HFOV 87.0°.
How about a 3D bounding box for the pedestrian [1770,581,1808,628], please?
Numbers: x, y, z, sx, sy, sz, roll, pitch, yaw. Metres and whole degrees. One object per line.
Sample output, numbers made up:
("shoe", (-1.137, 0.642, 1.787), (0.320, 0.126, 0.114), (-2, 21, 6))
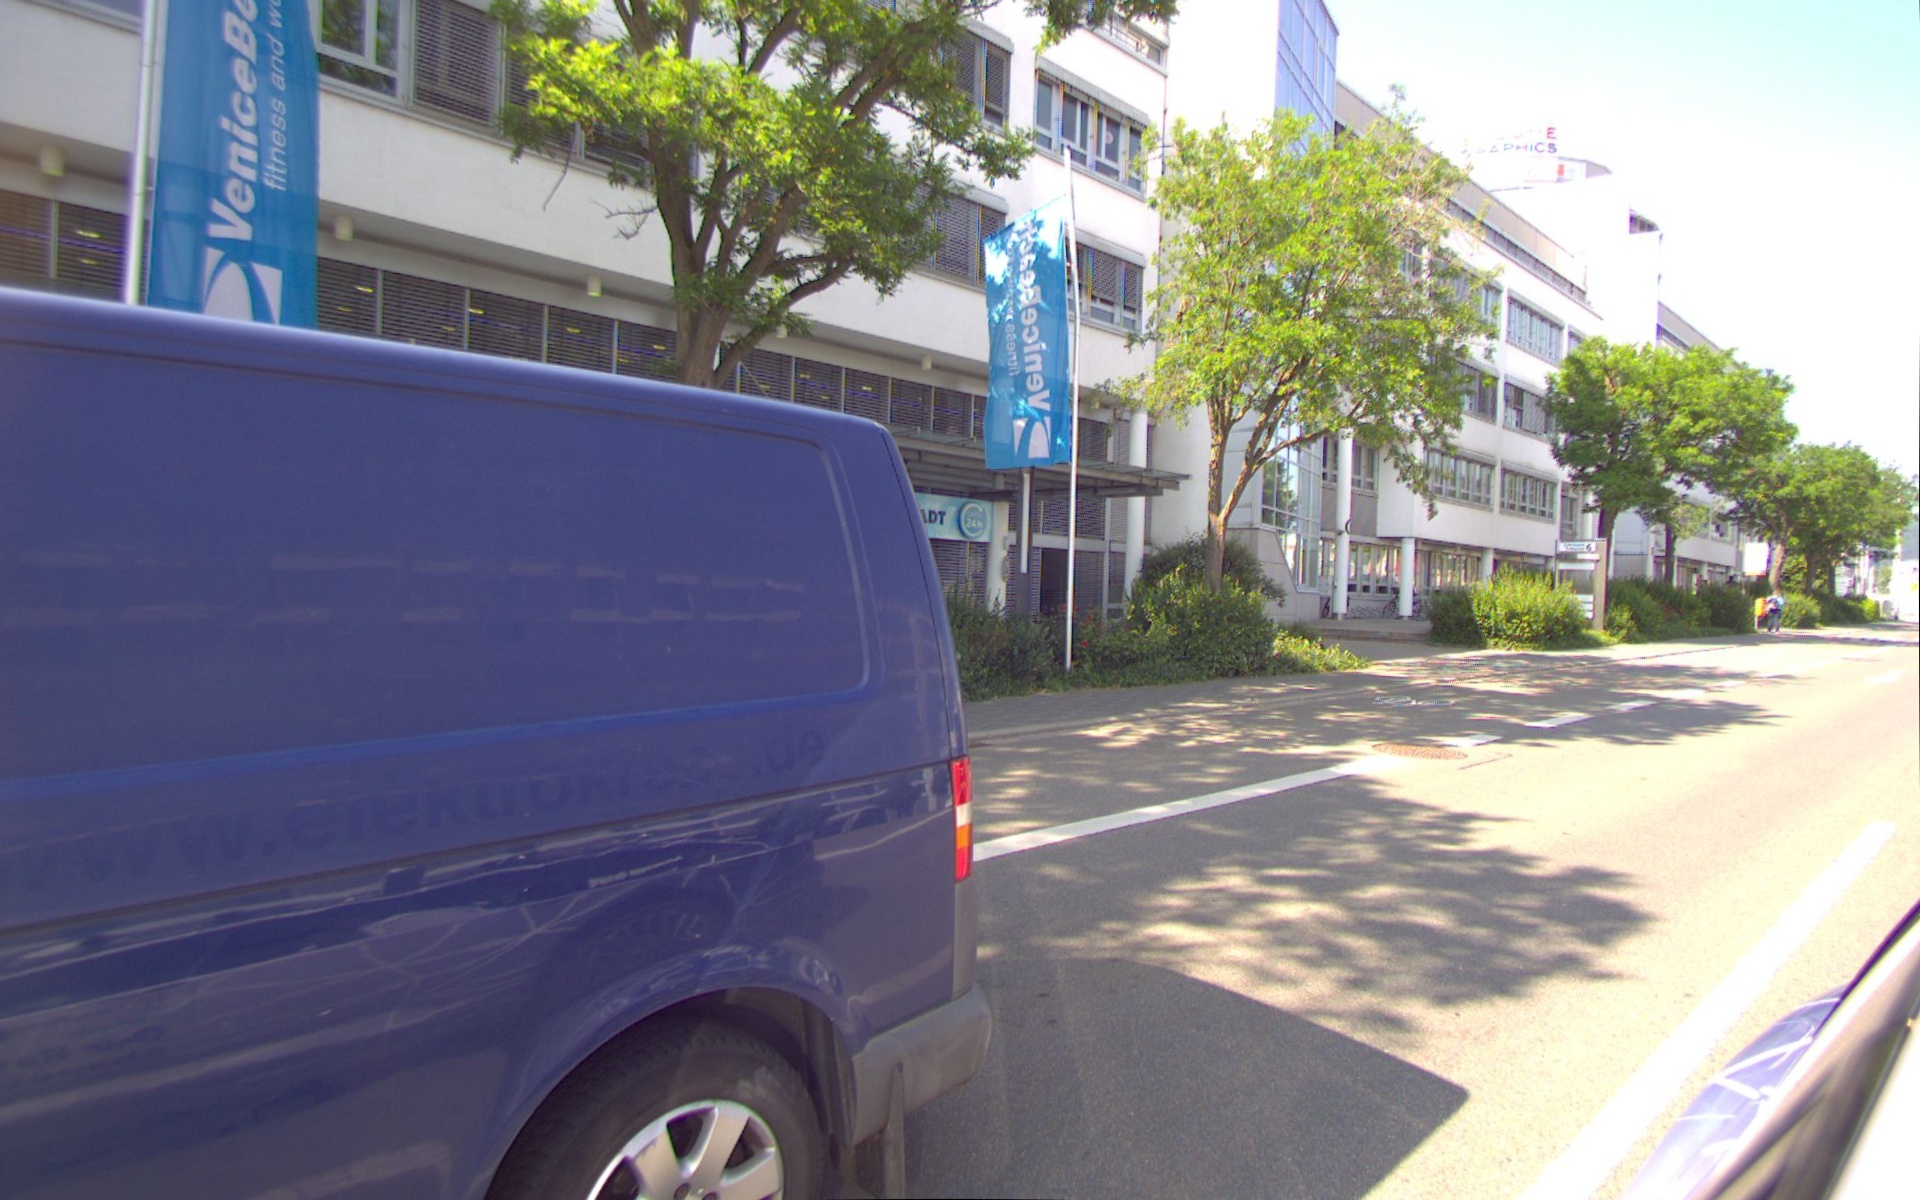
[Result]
("pedestrian", (35.179, 0.192, 42.953), (1.267, 1.909, 0.942), (0, 4, -41))

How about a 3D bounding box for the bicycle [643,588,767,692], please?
("bicycle", (-3.639, 0.538, 14.374), (1.868, 1.346, 0.501), (2, 1, 30))

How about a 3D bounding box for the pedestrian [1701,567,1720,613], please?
("pedestrian", (42.266, -0.577, 56.997), (0.704, 2.581, 0.716), (0, 1, -43))

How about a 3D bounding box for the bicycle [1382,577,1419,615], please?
("bicycle", (16.337, -0.144, 37.511), (1.852, 1.371, 0.506), (0, 1, -41))

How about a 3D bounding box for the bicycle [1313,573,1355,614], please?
("bicycle", (12.897, -0.212, 34.887), (1.852, 1.371, 0.506), (0, 1, -41))

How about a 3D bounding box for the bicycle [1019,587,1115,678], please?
("bicycle", (1.701, 0.480, 15.842), (0.504, 1.346, 1.856), (2, 1, 41))

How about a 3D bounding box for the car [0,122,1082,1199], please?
("car", (-2.174, 0.409, 1.592), (4.806, 1.972, 1.997), (-1, 2, -41))
